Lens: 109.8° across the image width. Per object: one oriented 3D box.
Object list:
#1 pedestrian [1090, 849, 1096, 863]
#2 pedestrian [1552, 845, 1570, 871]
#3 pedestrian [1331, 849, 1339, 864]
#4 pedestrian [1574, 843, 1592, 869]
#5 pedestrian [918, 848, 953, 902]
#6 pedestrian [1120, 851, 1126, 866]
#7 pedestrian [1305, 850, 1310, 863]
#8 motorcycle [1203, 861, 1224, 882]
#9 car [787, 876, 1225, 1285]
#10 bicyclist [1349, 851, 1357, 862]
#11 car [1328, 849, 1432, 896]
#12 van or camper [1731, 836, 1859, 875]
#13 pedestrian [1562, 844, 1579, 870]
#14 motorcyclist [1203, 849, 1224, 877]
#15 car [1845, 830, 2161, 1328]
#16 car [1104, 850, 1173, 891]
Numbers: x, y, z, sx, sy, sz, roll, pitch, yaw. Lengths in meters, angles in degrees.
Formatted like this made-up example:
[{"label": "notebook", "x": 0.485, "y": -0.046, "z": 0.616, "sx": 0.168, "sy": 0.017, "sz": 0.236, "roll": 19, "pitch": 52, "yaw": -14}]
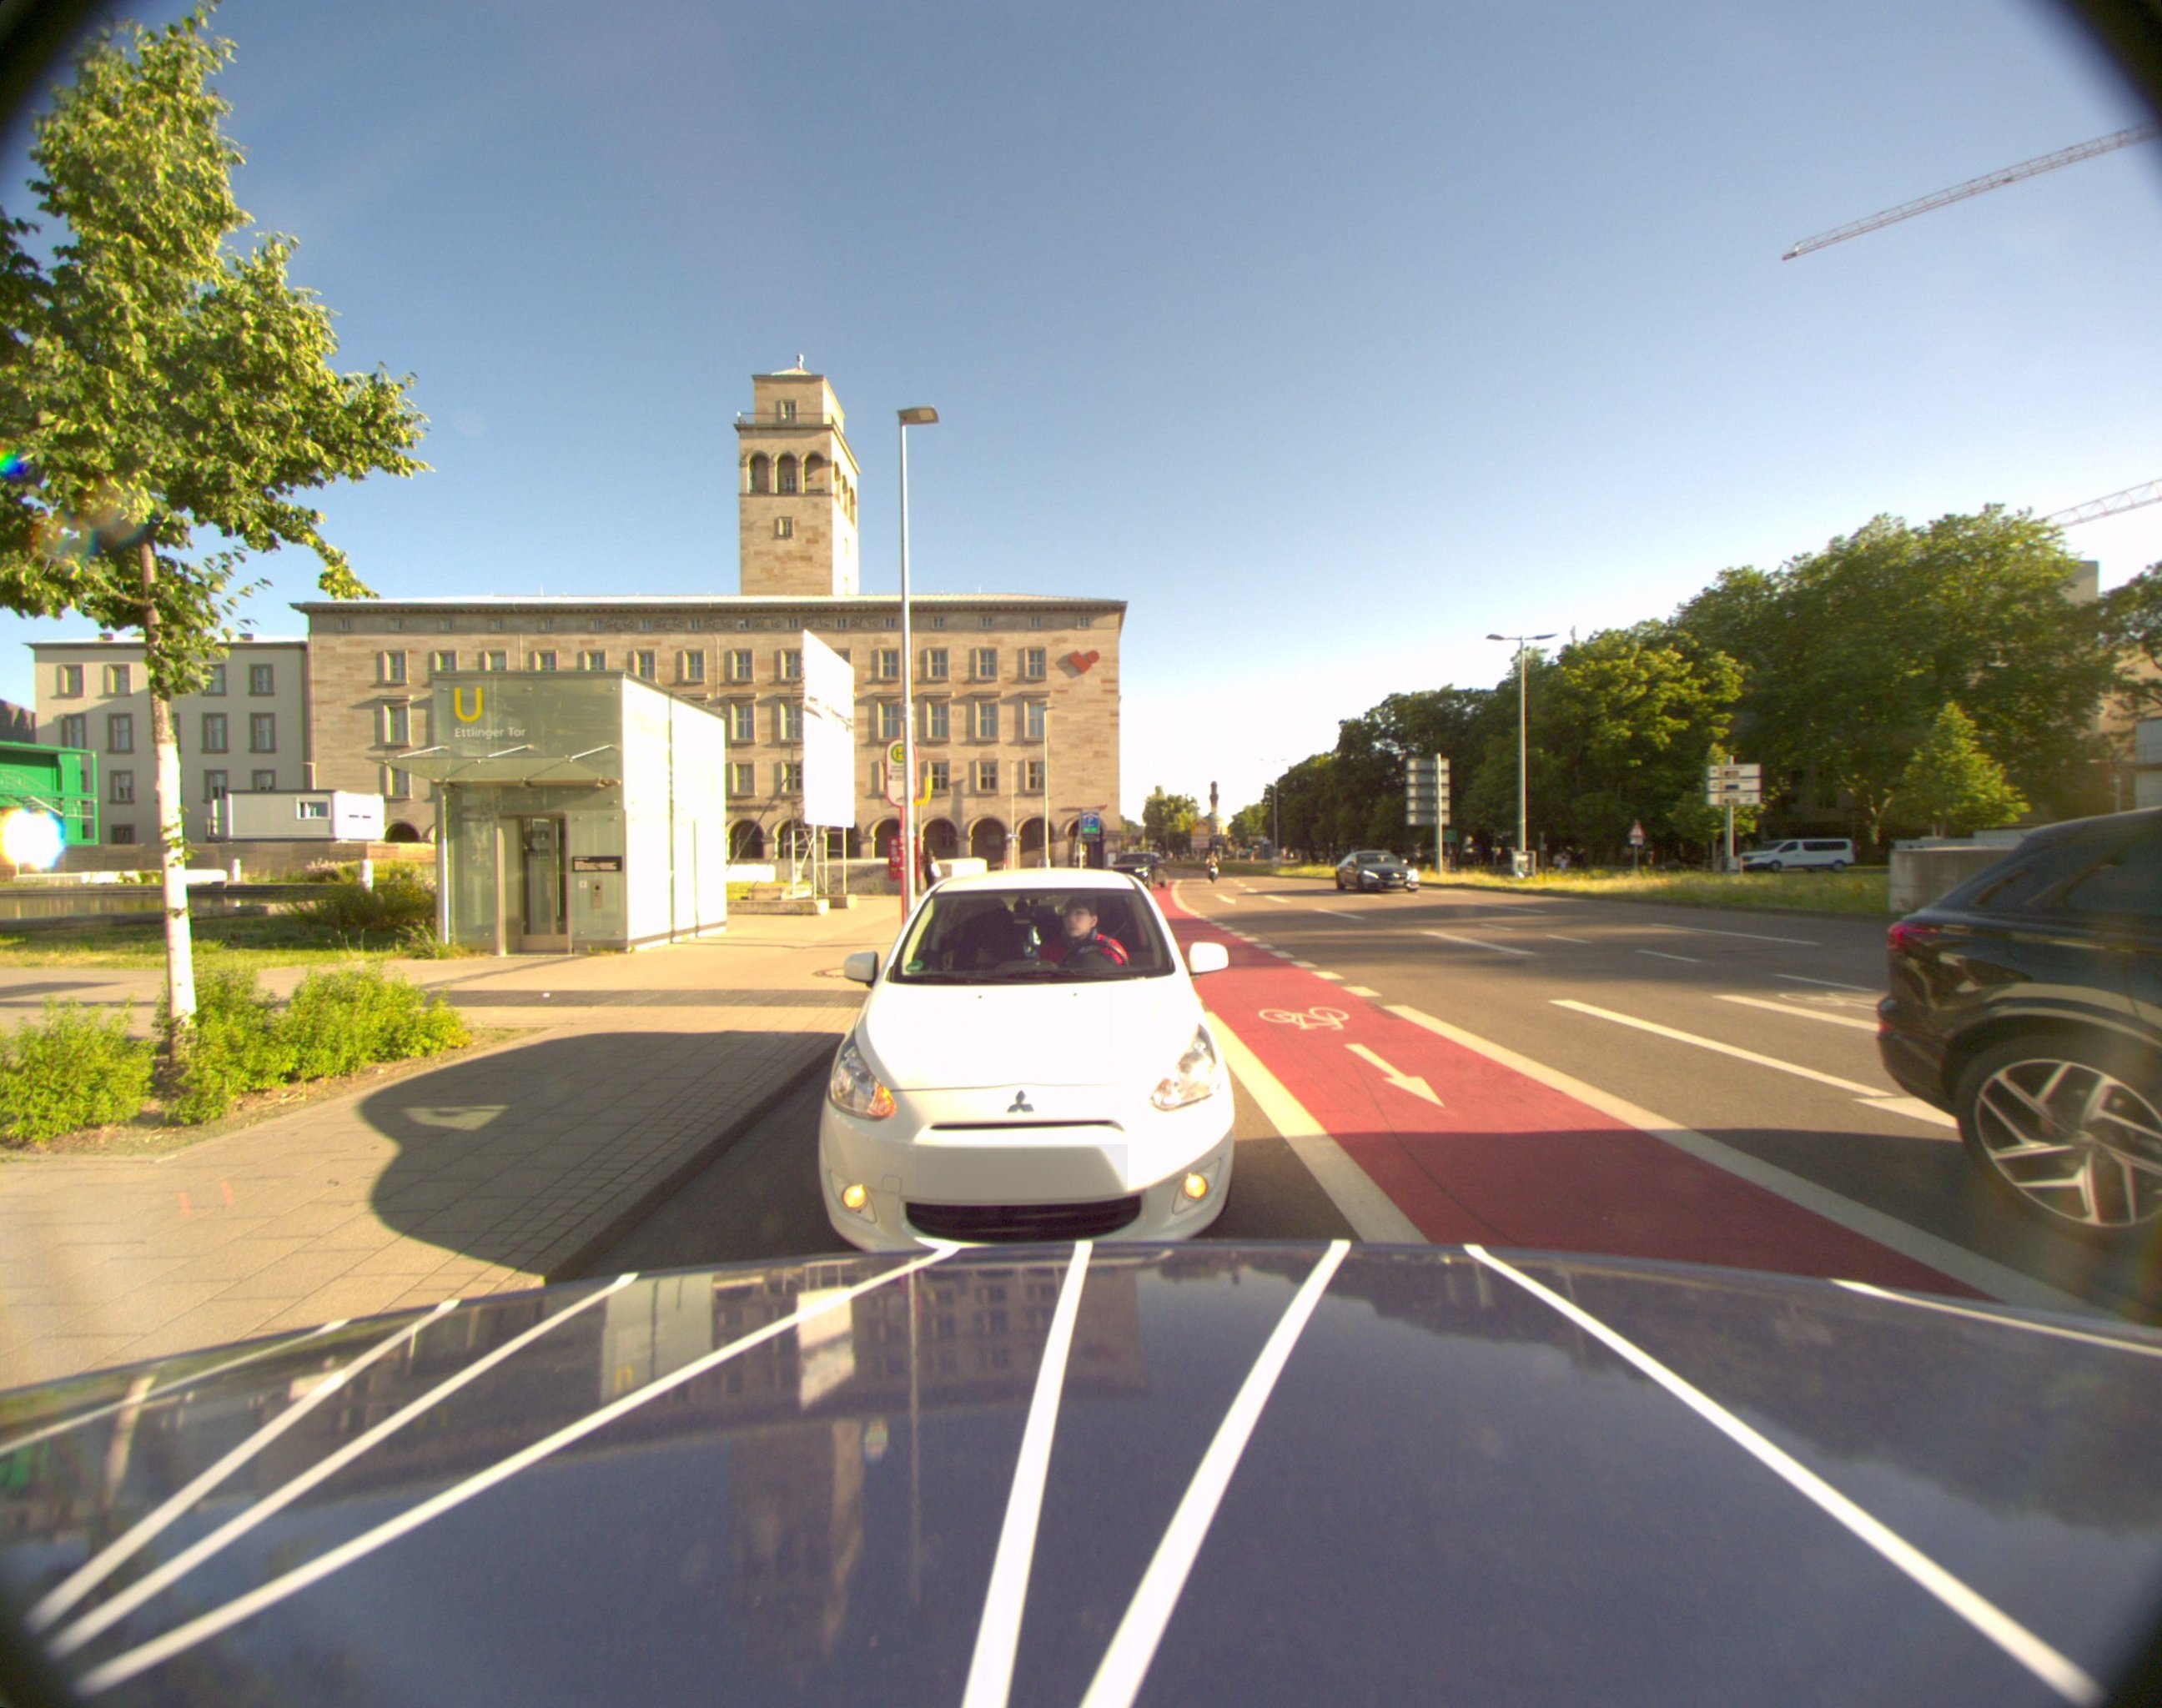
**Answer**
[{"label": "pedestrian", "x": 1.586, "y": 0.268, "z": 100.132, "sx": 0.704, "sy": 1.843, "sz": 0.828, "roll": -1, "pitch": 1, "yaw": 0}, {"label": "pedestrian", "x": 32.045, "y": 0.268, "z": 50.731, "sx": 0.707, "sy": 1.715, "sz": 0.762, "roll": -1, "pitch": 1, "yaw": 1}, {"label": "pedestrian", "x": 32.271, "y": 0.324, "z": 96.446, "sx": 0.628, "sy": 1.837, "sz": 0.925, "roll": -1, "pitch": 1, "yaw": -1}, {"label": "pedestrian", "x": 33.717, "y": 0.113, "z": 51.046, "sx": 0.707, "sy": 1.715, "sz": 0.762, "roll": -1, "pitch": 1, "yaw": 0}, {"label": "pedestrian", "x": -4.881, "y": 0.677, "z": 25.468, "sx": 0.942, "sy": 1.776, "sz": 1.072, "roll": 0, "pitch": 1, "yaw": 1}, {"label": "pedestrian", "x": 5.427, "y": 0.583, "z": 97.242, "sx": 0.704, "sy": 1.843, "sz": 0.828, "roll": -1, "pitch": 1, "yaw": 0}, {"label": "pedestrian", "x": 32.469, "y": 0.377, "z": 108.914, "sx": 0.568, "sy": 1.837, "sz": 0.734, "roll": -1, "pitch": 1, "yaw": -1}, {"label": "motorcycle", "x": 7.023, "y": 0.891, "z": 40.312, "sx": 0.974, "sy": 1.008, "sz": 2.268, "roll": -2, "pitch": 0, "yaw": 8}, {"label": "car", "x": -0.224, "y": 0.959, "z": 4.932, "sx": 1.678, "sy": 1.440, "sz": 3.889, "roll": -2, "pitch": 0, "yaw": 2}, {"label": "bicyclist", "x": 31.851, "y": 0.245, "z": 88.964, "sx": 0.610, "sy": 1.274, "sz": 0.715, "roll": -1, "pitch": 1, "yaw": -1}, {"label": "car", "x": 10.207, "y": 0.582, "z": 26.301, "sx": 1.998, "sy": 1.398, "sz": 4.489, "roll": -2, "pitch": 0, "yaw": 3}, {"label": "van or camper", "x": 42.302, "y": 0.079, "z": 45.088, "sx": 5.649, "sy": 2.002, "sz": 1.948, "roll": -2, "pitch": 1, "yaw": 2}, {"label": "pedestrian", "x": 32.782, "y": 0.190, "z": 50.863, "sx": 0.665, "sy": 1.715, "sz": 0.762, "roll": 0, "pitch": 1, "yaw": 1}, {"label": "motorcyclist", "x": 6.991, "y": 0.481, "z": 40.135, "sx": 0.974, "sy": 1.405, "sz": 1.059, "roll": -2, "pitch": 1, "yaw": 8}, {"label": "car", "x": 4.518, "y": 0.724, "z": 1.206, "sx": 1.937, "sy": 1.634, "sz": 4.616, "roll": -1, "pitch": 0, "yaw": -1}, {"label": "car", "x": 2.644, "y": 0.679, "z": 33.932, "sx": 1.996, "sy": 1.709, "sz": 4.332, "roll": 0, "pitch": 0, "yaw": 19}]
